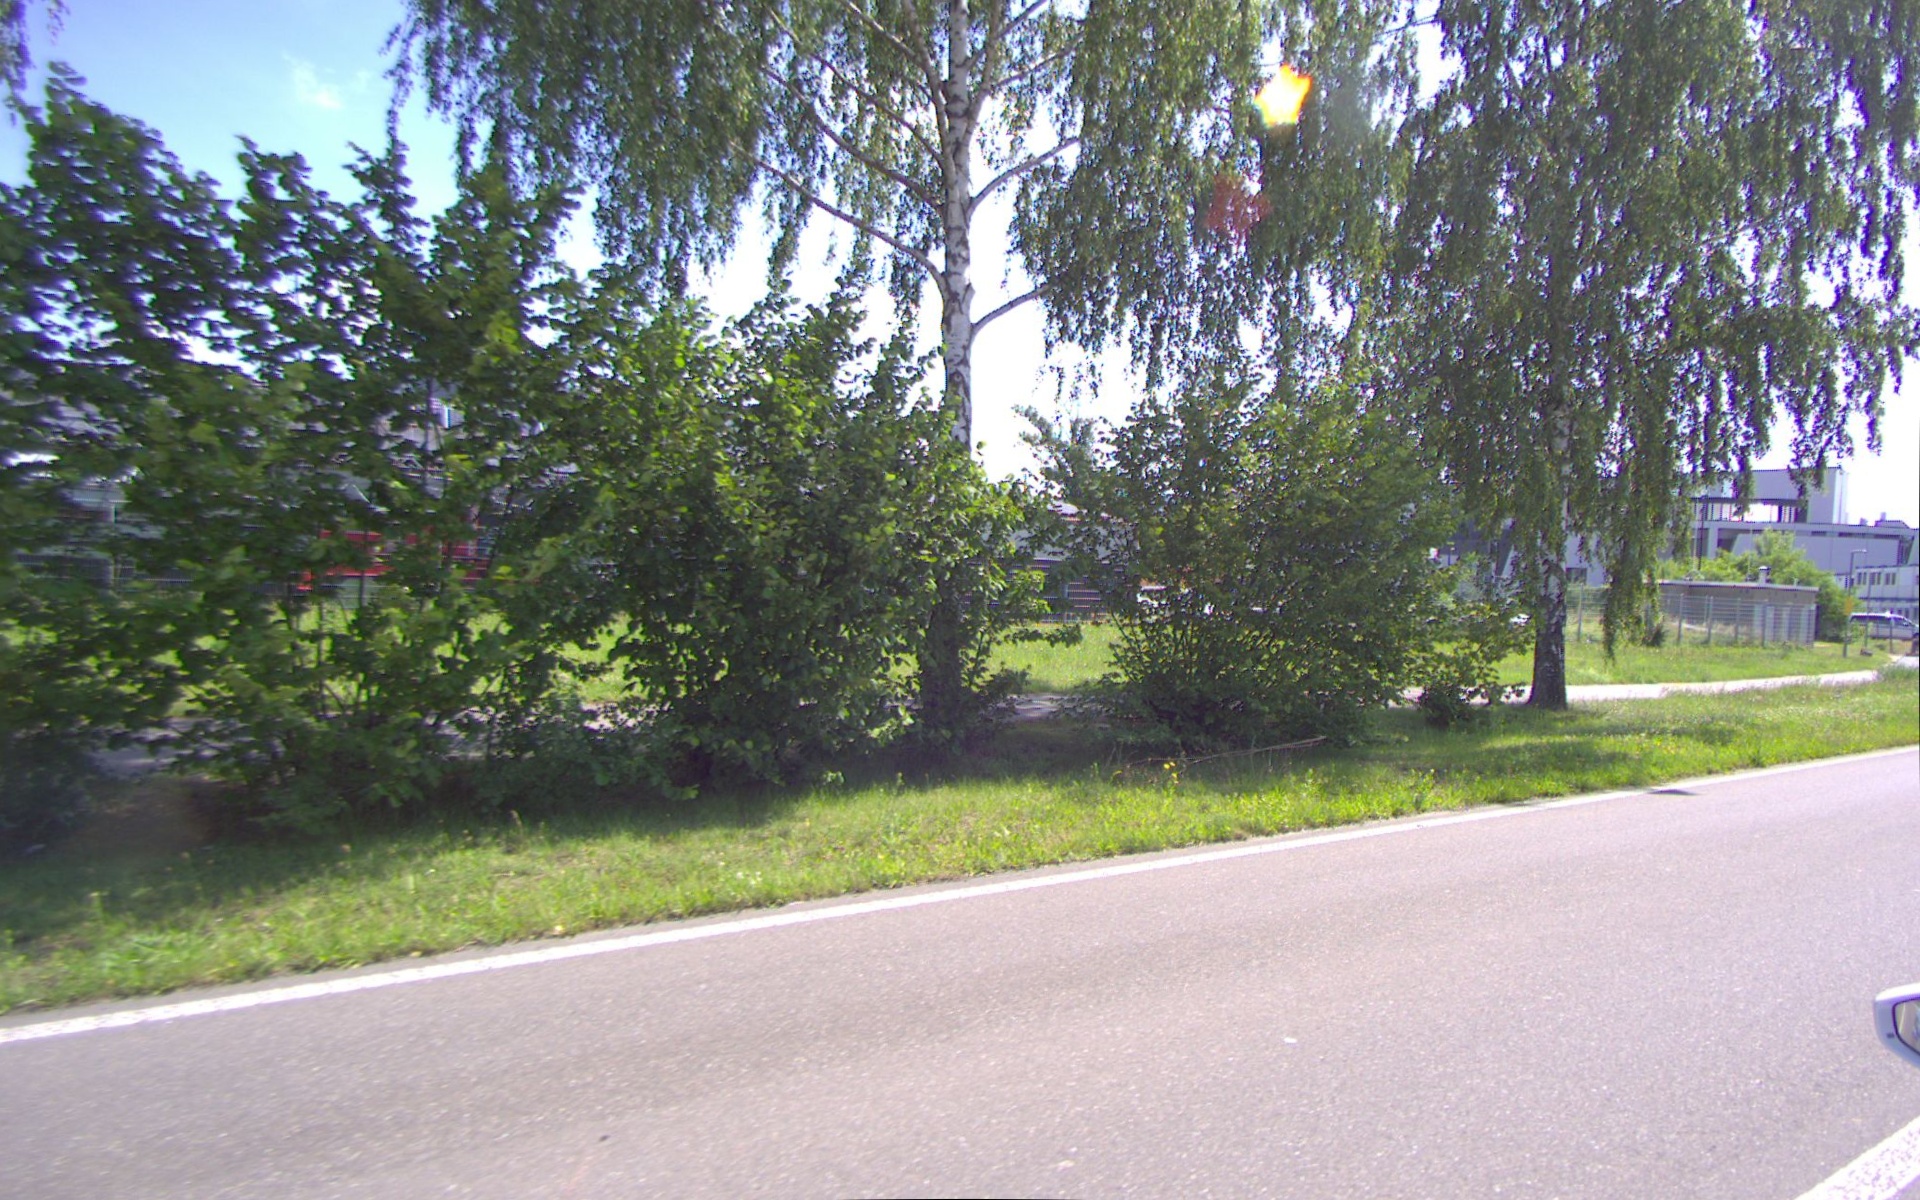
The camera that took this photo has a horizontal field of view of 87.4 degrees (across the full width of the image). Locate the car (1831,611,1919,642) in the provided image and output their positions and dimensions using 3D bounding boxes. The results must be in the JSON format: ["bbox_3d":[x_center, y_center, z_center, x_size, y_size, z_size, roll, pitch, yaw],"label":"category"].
[{"bbox_3d":[65.578,1.884,71.471,4.923,1.892,1.999,3,2,21],"label":"car"}]

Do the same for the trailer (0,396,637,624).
[{"bbox_3d":[-14.361,-1.555,19.935,14.741,3.693,3.276,2,0,-29],"label":"trailer"}]

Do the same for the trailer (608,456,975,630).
[{"bbox_3d":[-4.189,-1.222,25.563,8.552,3.693,3.385,2,0,-29],"label":"trailer"}]
